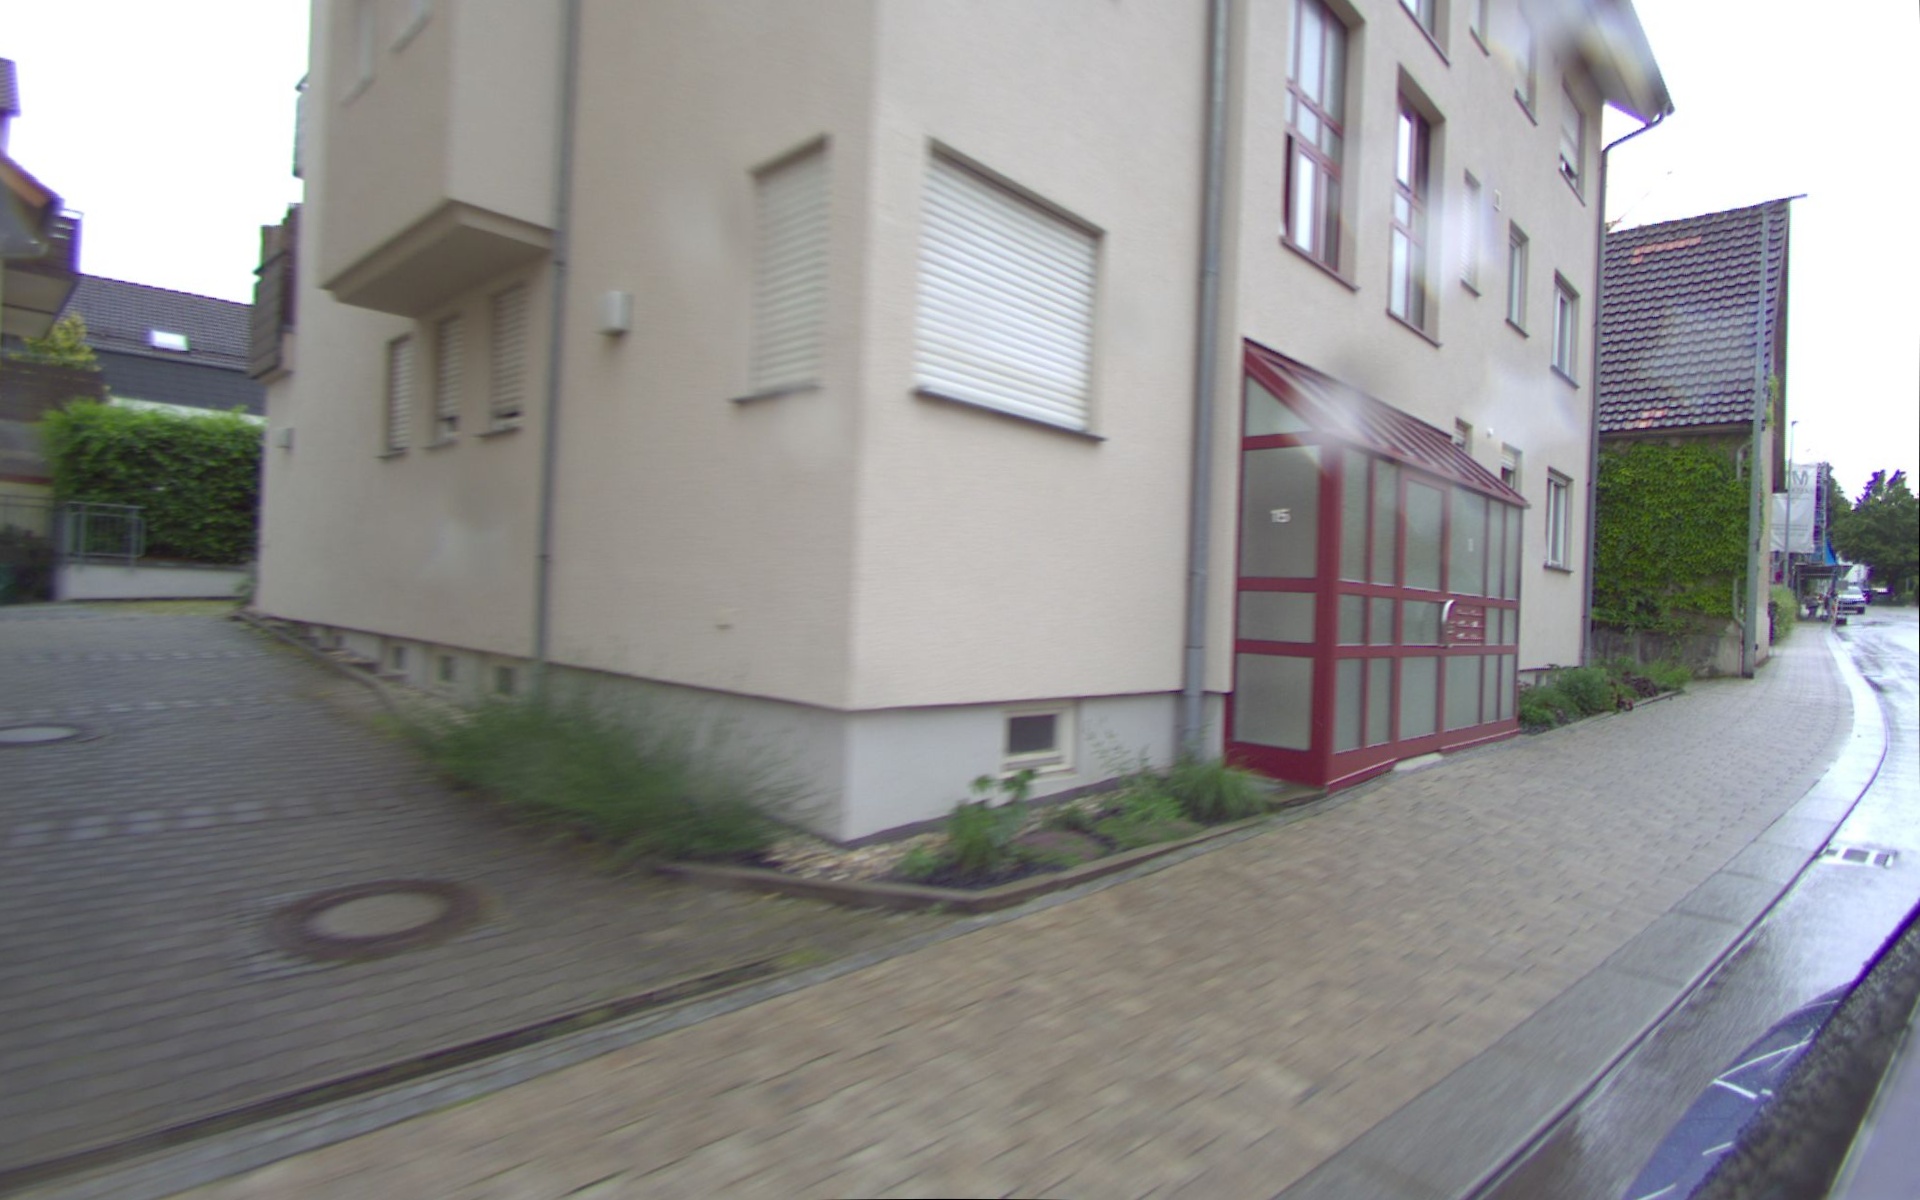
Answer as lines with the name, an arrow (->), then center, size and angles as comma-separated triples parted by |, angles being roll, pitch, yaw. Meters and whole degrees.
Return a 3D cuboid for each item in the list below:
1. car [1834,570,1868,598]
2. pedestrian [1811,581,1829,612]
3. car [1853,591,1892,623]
car -> 70.512, -1.271, 80.121 | 1.702, 2.128, 3.888 | 1, 1, 37
pedestrian -> 45.307, -0.178, 53.292 | 0.654, 1.600, 0.430 | 4, 3, 41
car -> 60.946, 0.429, 67.650 | 1.822, 1.999, 4.449 | 3, 3, 41
